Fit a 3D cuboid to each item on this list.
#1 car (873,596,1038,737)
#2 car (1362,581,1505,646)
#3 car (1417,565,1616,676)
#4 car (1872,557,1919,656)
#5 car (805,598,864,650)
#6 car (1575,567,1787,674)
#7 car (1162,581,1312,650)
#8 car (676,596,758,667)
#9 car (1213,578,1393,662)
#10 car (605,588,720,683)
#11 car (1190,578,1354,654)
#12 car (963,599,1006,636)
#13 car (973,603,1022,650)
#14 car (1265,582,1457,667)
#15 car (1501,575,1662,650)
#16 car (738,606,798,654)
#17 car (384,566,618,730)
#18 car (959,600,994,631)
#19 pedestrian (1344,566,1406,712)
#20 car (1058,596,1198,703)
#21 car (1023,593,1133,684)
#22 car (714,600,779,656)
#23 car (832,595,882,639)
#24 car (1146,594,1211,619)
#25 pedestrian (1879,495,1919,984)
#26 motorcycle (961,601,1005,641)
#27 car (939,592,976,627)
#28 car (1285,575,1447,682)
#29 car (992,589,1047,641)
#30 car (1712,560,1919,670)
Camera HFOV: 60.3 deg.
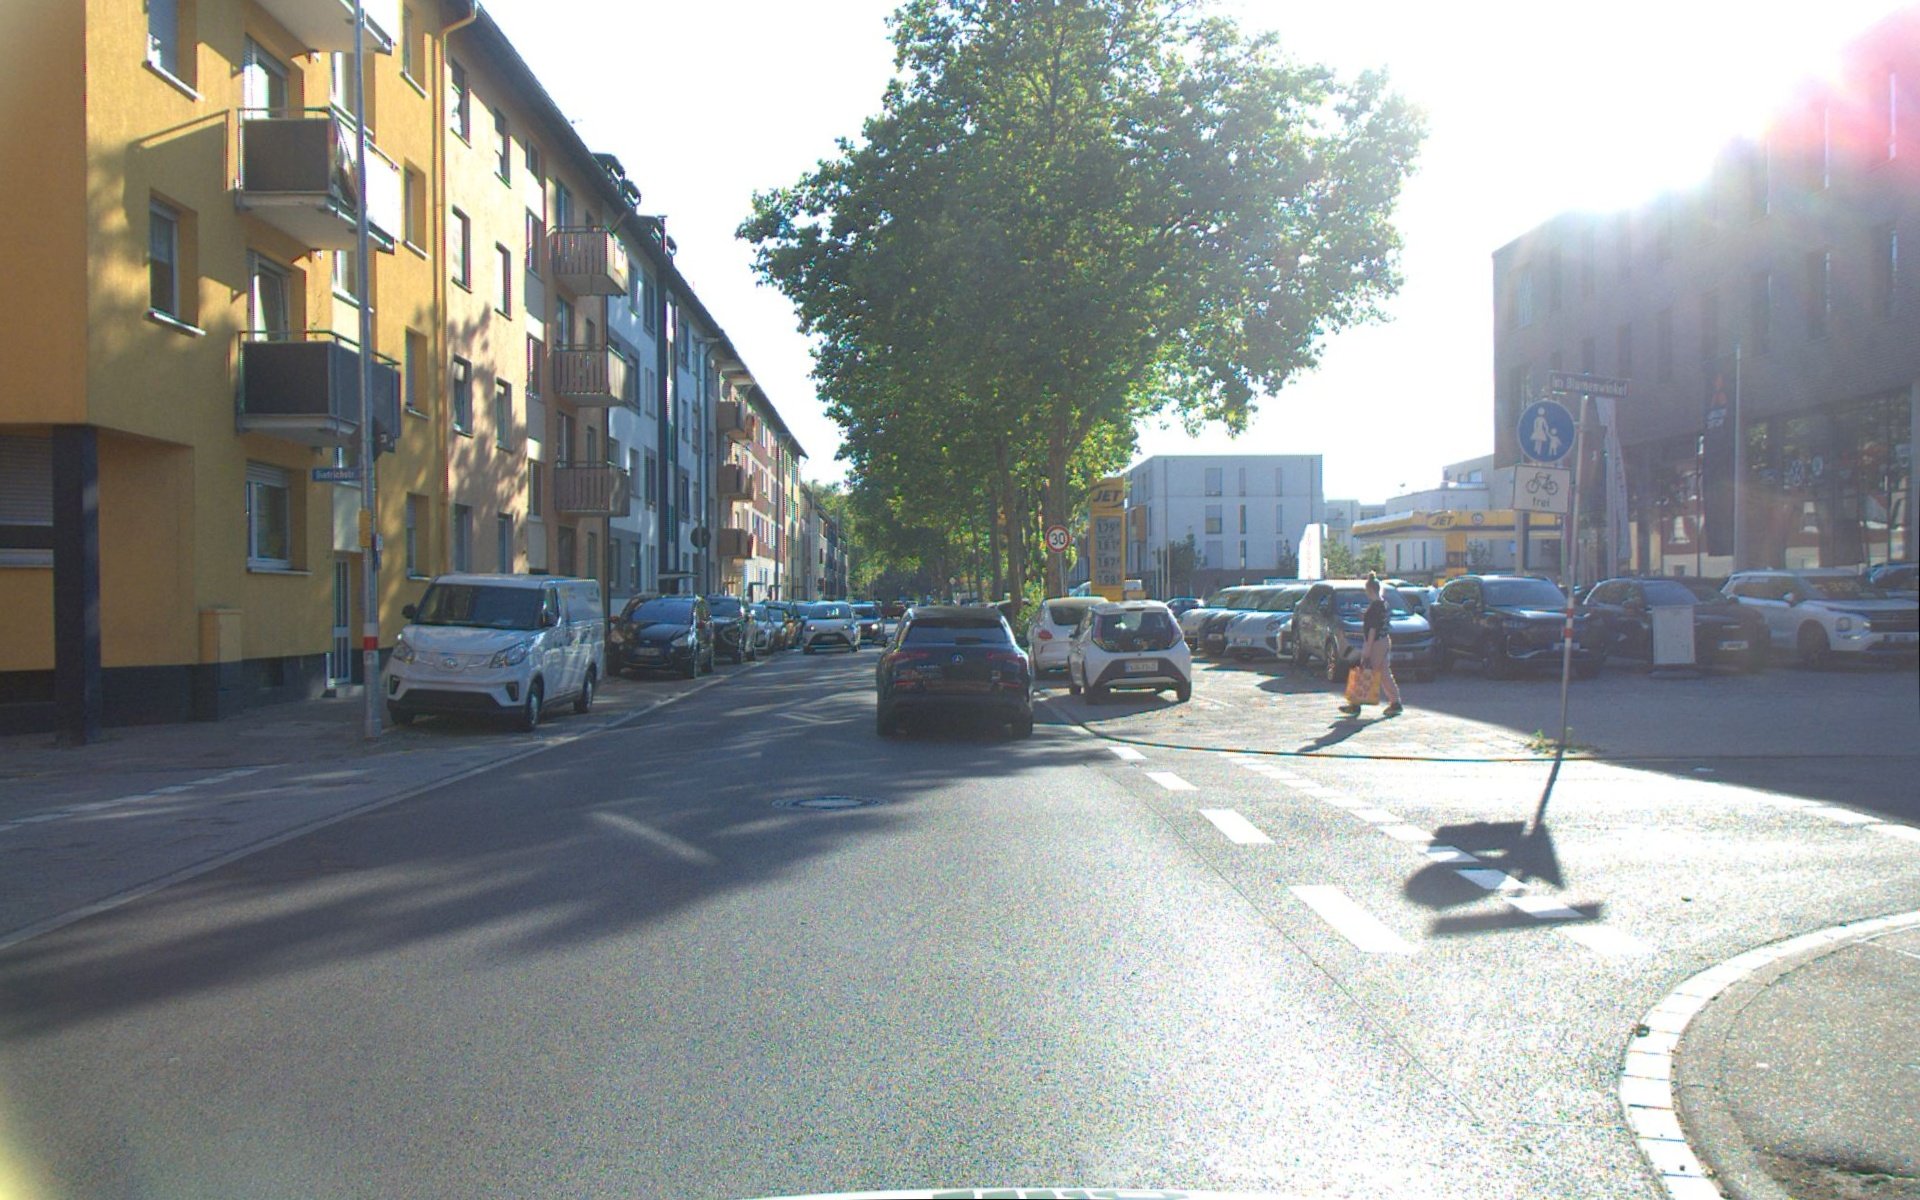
[{"bbox_3d":[0.047,0.704,19.597,1.708,1.469,3.970,1,0,3],"label":"car"},{"bbox_3d":[12.346,0.320,43.026,3.778,1.537,1.622,-2,1,-37],"label":"car"},{"bbox_3d":[9.619,0.327,28.958,1.789,1.762,4.365,-1,0,-3],"label":"car"},{"bbox_3d":[18.125,0.108,29.001,1.945,1.764,4.180,-1,0,0],"label":"car"},{"bbox_3d":[-3.834,0.717,51.067,1.606,1.550,3.933,0,0,-1],"label":"car"},{"bbox_3d":[12.516,0.325,29.004,1.692,1.714,4.178,-1,0,-3],"label":"car"},{"bbox_3d":[7.127,0.369,42.447,3.782,1.606,1.722,-2,1,-39],"label":"car"},{"bbox_3d":[-6.100,0.760,41.899,1.564,1.669,4.410,1,0,-2],"label":"car"},{"bbox_3d":[7.415,0.402,35.617,3.778,1.638,1.719,-2,1,-37],"label":"car"},{"bbox_3d":[-6.134,0.691,34.513,1.710,1.819,4.547,1,0,-2],"label":"car"},{"bbox_3d":[7.327,0.347,38.709,3.782,1.606,1.717,-2,1,-39],"label":"car"},{"bbox_3d":[1.081,0.792,73.586,1.687,1.585,3.599,1,-1,-2],"label":"car"},{"bbox_3d":[1.340,0.944,60.314,1.528,1.624,3.599,1,-1,-2],"label":"car"},{"bbox_3d":[8.029,0.455,33.012,3.775,1.572,1.642,-1,0,-35],"label":"car"},{"bbox_3d":[14.024,0.257,37.242,3.778,1.537,1.622,-2,1,-37],"label":"car"},{"bbox_3d":[-6.327,0.962,54.763,1.564,1.459,4.216,1,0,-1],"label":"car"},{"bbox_3d":[-5.992,0.565,22.238,1.699,1.940,5.208,0,0,0],"label":"car"},{"bbox_3d":[0.848,0.807,85.640,1.600,1.585,3.599,1,-1,-2],"label":"car"},{"bbox_3d":[5.074,0.471,20.260,0.677,1.753,0.722,-1,0,12],"label":"pedestrian"},{"bbox_3d":[2.573,0.738,26.082,1.602,1.493,4.019,-2,-1,-2],"label":"car"},{"bbox_3d":[2.271,0.734,32.909,1.774,1.565,4.582,-3,-1,0],"label":"car"},{"bbox_3d":[-6.268,0.800,48.909,1.516,1.550,4.003,1,0,-2],"label":"car"},{"bbox_3d":[-3.874,0.613,62.779,1.630,1.550,4.411,-2,0,-1],"label":"car"},{"bbox_3d":[14.126,0.438,106.868,3.907,1.556,1.806,0,-2,-3],"label":"car"},{"bbox_3d":[3.915,0.497,5.959,0.755,1.792,0.661,-2,0,-16],"label":"pedestrian"},{"bbox_3d":[0.922,0.830,66.351,1.619,1.585,0.607,1,-1,-23],"label":"motorcycle"},{"bbox_3d":[-0.181,0.597,98.774,1.954,2.049,3.996,0,-1,-5],"label":"car"},{"bbox_3d":[6.977,0.456,28.829,1.716,1.699,4.157,-1,0,-1],"label":"car"},{"bbox_3d":[1.927,0.506,54.259,1.528,1.624,3.599,1,-1,-2],"label":"car"},{"bbox_3d":[15.146,0.231,28.978,1.838,1.764,4.178,-1,0,-3],"label":"car"}]
